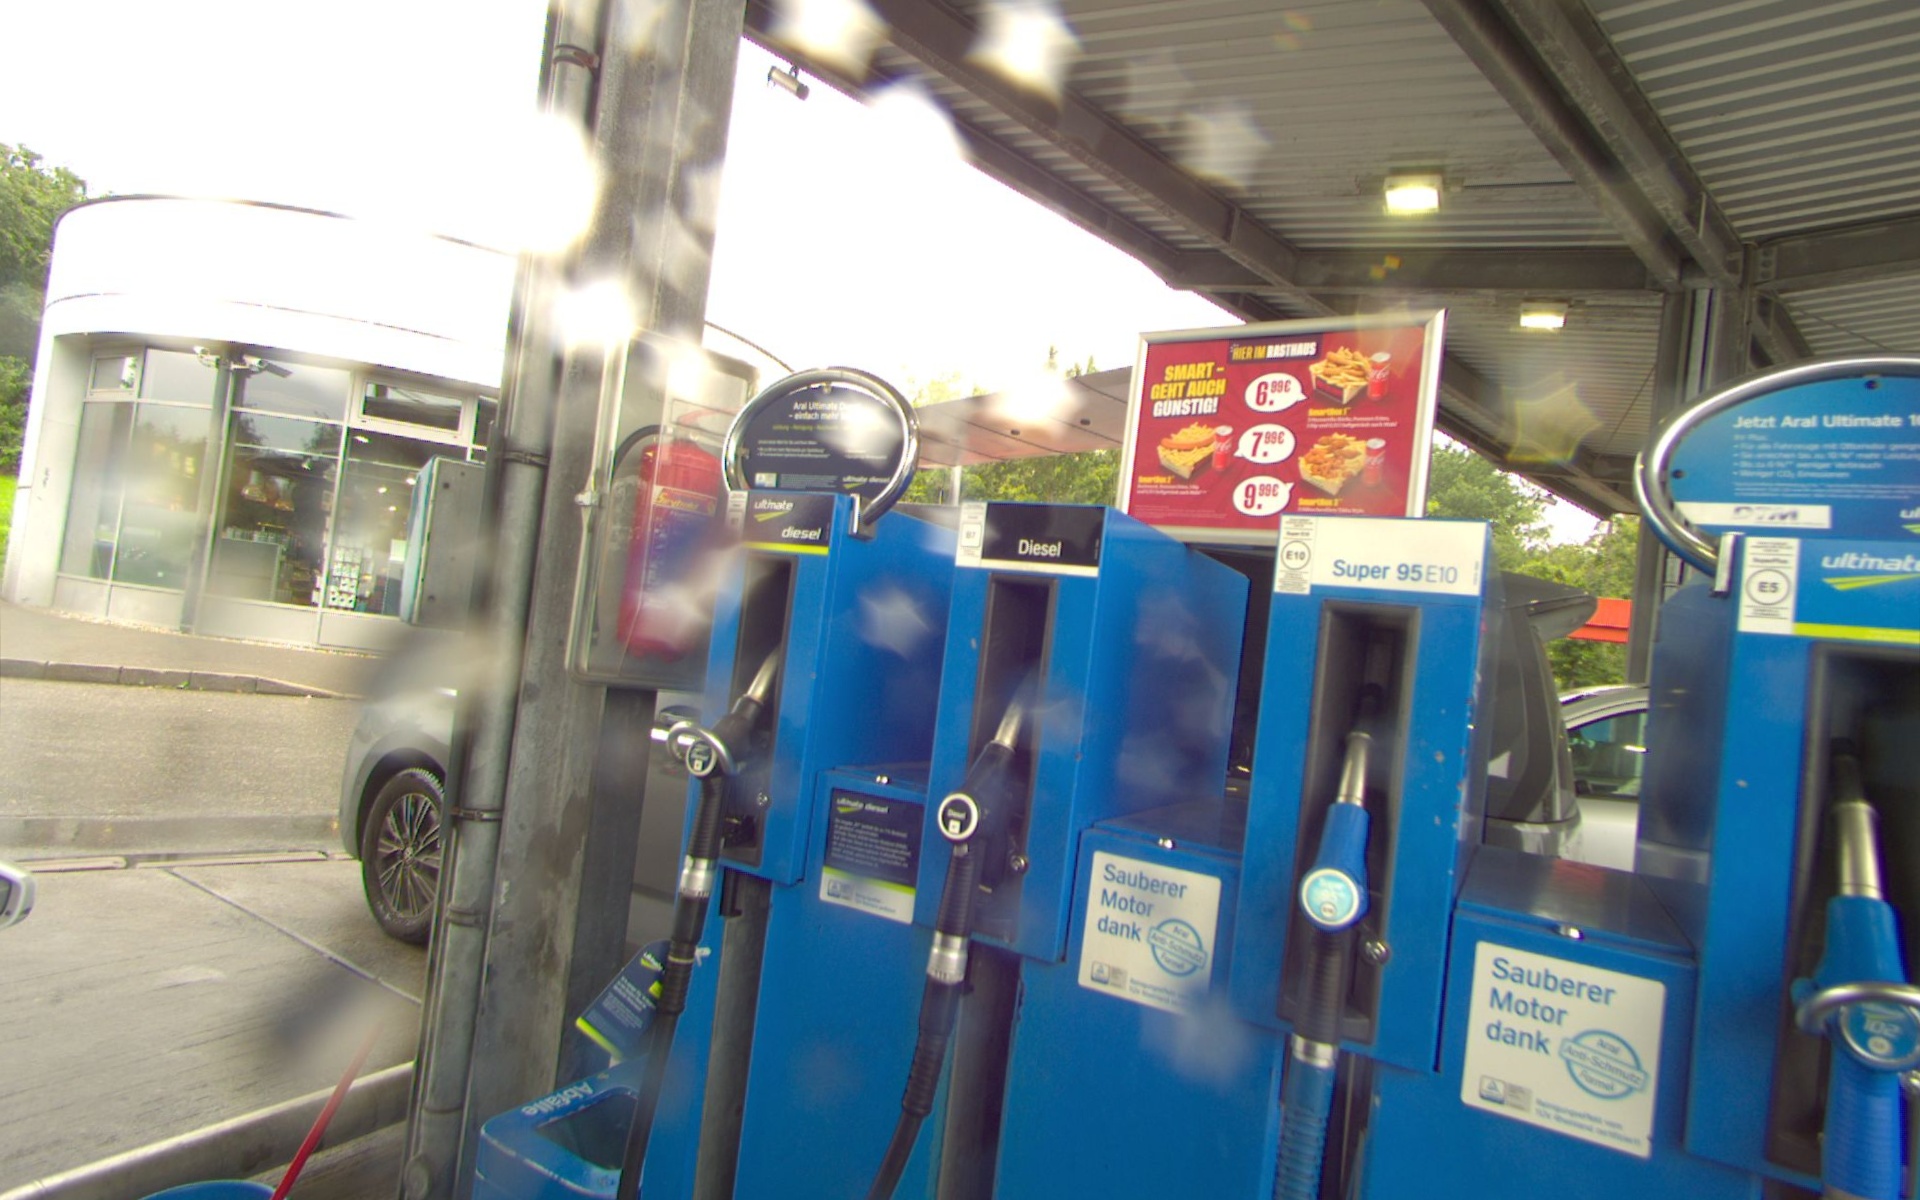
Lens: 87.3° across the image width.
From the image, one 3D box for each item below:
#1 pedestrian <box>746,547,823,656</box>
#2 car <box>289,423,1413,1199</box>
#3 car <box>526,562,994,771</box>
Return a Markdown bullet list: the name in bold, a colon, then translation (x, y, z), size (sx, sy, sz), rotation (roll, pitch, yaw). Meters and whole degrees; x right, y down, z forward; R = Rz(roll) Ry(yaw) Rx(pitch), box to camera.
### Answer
- **pedestrian**: translation (-3.274, 0.026, 18.738), size (0.990, 1.887, 0.793), rotation (7, 0, -30)
- **car**: translation (-0.572, 0.522, 3.972), size (3.934, 1.971, 1.819), rotation (7, -1, 32)
- **car**: translation (-1.961, 0.755, 10.520), size (4.292, 1.606, 1.871), rotation (9, -2, -37)
